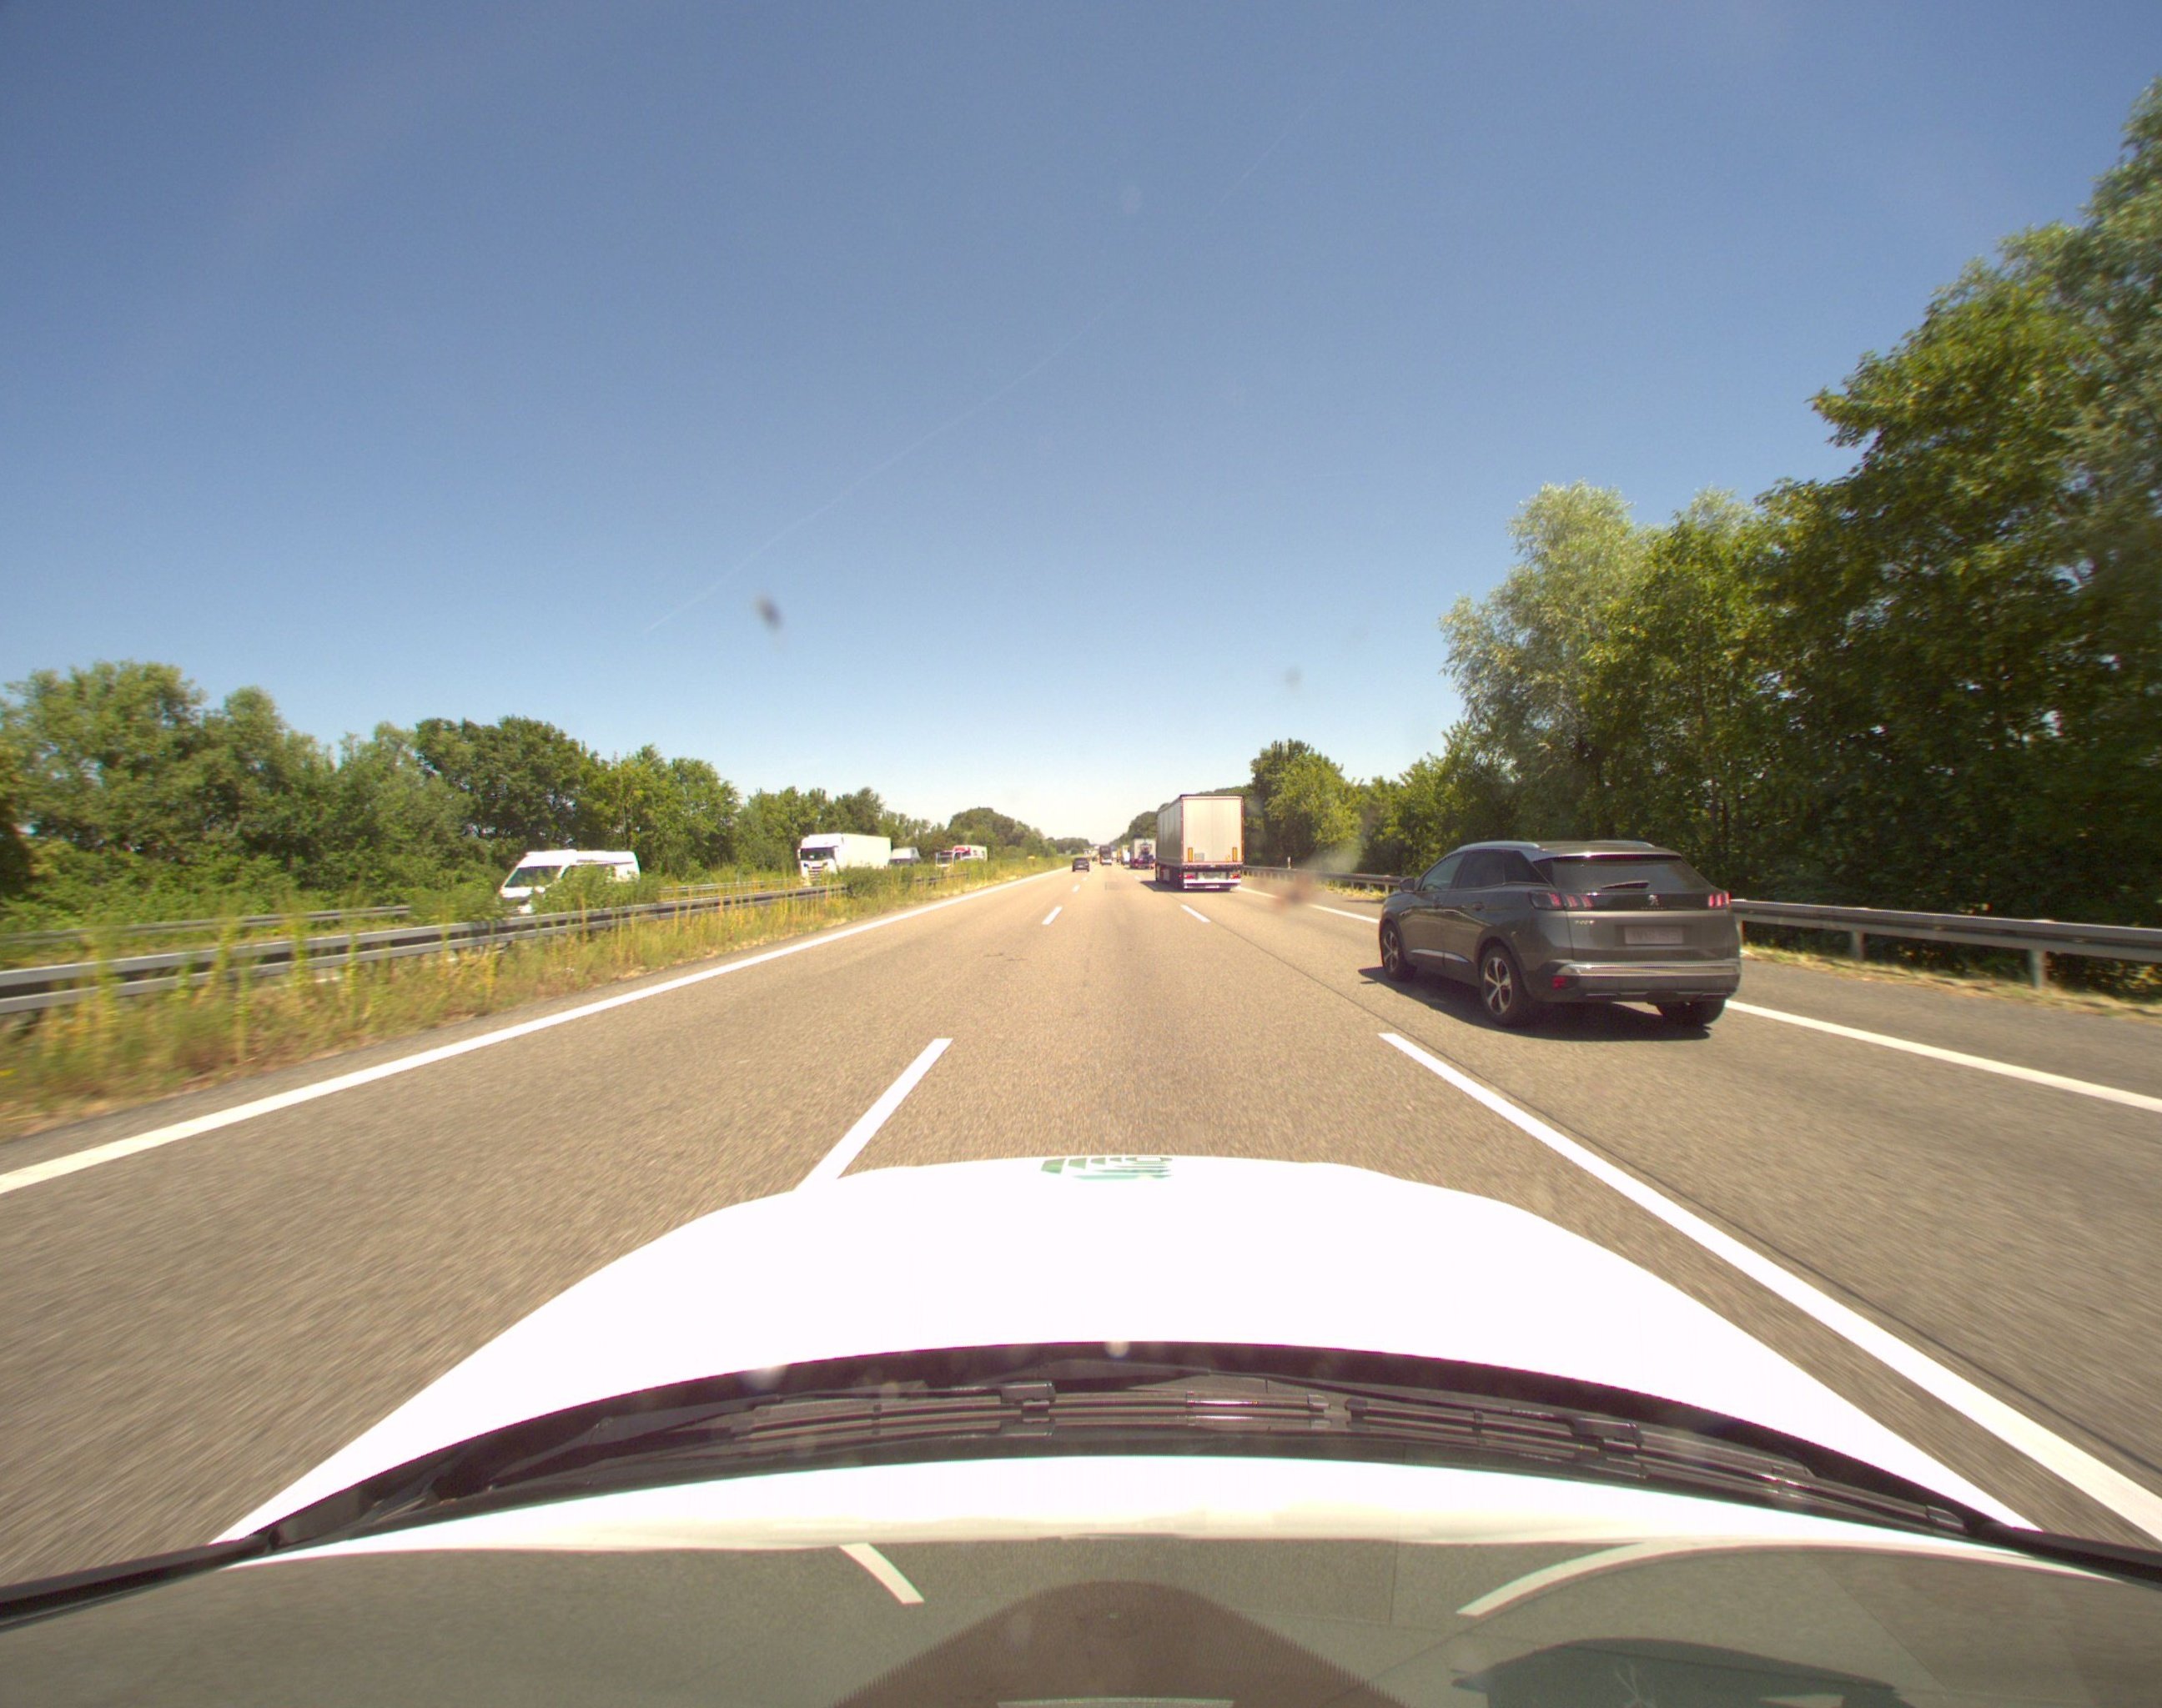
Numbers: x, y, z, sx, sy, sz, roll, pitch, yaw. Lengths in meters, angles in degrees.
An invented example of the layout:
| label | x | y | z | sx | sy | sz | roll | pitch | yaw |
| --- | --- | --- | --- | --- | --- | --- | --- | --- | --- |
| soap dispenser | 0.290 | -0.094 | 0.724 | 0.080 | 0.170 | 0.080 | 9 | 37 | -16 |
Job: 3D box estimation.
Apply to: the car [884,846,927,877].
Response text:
| label | x | y | z | sx | sy | sz | roll | pitch | yaw |
| --- | --- | --- | --- | --- | --- | --- | --- | --- | --- |
| car | -14.176 | 0.569 | 66.125 | 2.202 | 2.362 | 5.298 | -2 | 0 | 0 |

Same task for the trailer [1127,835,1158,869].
| label | x | y | z | sx | sy | sz | roll | pitch | yaw |
| --- | --- | --- | --- | --- | --- | --- | --- | --- | --- |
| trailer | 7.340 | -0.290 | 98.788 | 3.112 | 3.926 | 9.938 | 0 | 1 | 1 |

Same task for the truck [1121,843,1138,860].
| label | x | y | z | sx | sy | sz | roll | pitch | yaw |
| --- | --- | --- | --- | --- | --- | --- | --- | --- | --- |
| truck | 10.864 | -0.553 | 182.096 | 3.652 | 3.725 | 7.114 | 0 | 1 | 3 |

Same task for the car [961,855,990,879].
| label | x | y | z | sx | sy | sz | roll | pitch | yaw |
| --- | --- | --- | --- | --- | --- | --- | --- | --- | --- |
| car | -9.853 | 1.141 | 76.134 | 1.919 | 2.120 | 5.278 | -1 | 0 | 0 |

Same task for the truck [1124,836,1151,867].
| label | x | y | z | sx | sy | sz | roll | pitch | yaw |
| --- | --- | --- | --- | --- | --- | --- | --- | --- | --- |
| truck | 7.433 | -0.354 | 108.740 | 3.047 | 3.879 | 10.035 | 0 | 1 | 1 |

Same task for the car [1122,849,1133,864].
| label | x | y | z | sx | sy | sz | roll | pitch | yaw |
| --- | --- | --- | --- | --- | --- | --- | --- | --- | --- |
| car | 8.043 | 0.448 | 141.375 | 1.900 | 2.425 | 4.287 | 0 | 1 | 2 |

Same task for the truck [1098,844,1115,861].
| label | x | y | z | sx | sy | sz | roll | pitch | yaw |
| --- | --- | --- | --- | --- | --- | --- | --- | --- | --- |
| truck | 5.641 | -0.431 | 182.150 | 3.652 | 3.725 | 7.114 | 0 | 1 | 3 |

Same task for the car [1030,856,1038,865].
| label | x | y | z | sx | sy | sz | roll | pitch | yaw |
| --- | --- | --- | --- | --- | --- | --- | --- | --- | --- |
| car | -13.630 | 1.834 | 236.221 | 2.096 | 2.557 | 6.183 | -2 | 1 | -1 |

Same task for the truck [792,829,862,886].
| label | x | y | z | sx | sy | sz | roll | pitch | yaw |
| --- | --- | --- | --- | --- | --- | --- | --- | --- | --- |
| truck | -19.122 | 0.202 | 61.755 | 3.060 | 4.111 | 6.527 | 0 | 1 | 1 |

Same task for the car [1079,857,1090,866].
| label | x | y | z | sx | sy | sz | roll | pitch | yaw |
| --- | --- | --- | --- | --- | --- | --- | --- | --- | --- |
| car | 0.712 | 1.378 | 145.923 | 1.893 | 1.531 | 4.086 | 0 | 1 | 2 |

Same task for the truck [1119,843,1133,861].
| label | x | y | z | sx | sy | sz | roll | pitch | yaw |
| --- | --- | --- | --- | --- | --- | --- | --- | --- | --- |
| truck | 9.051 | -0.418 | 165.760 | 2.781 | 3.725 | 7.114 | 0 | 1 | 3 |

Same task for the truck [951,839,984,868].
| label | x | y | z | sx | sy | sz | roll | pitch | yaw |
| --- | --- | --- | --- | --- | --- | --- | --- | --- | --- |
| truck | -17.143 | -0.133 | 123.729 | 3.059 | 4.310 | 10.633 | 0 | 1 | 2 |

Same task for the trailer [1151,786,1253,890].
| label | x | y | z | sx | sy | sz | roll | pitch | yaw |
| --- | --- | --- | --- | --- | --- | --- | --- | --- | --- |
| trailer | 5.465 | -0.653 | 39.612 | 3.421 | 4.181 | 13.638 | 0 | 0 | 2 |

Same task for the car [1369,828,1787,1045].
| label | x | y | z | sx | sy | sz | roll | pitch | yaw |
| --- | --- | --- | --- | --- | --- | --- | --- | --- | --- |
| car | 4.533 | 0.620 | 8.307 | 1.838 | 1.628 | 4.137 | -1 | 0 | 2 |

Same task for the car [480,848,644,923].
| label | x | y | z | sx | sy | sz | roll | pitch | yaw |
| --- | --- | --- | --- | --- | --- | --- | --- | --- | --- |
| car | -19.172 | 1.052 | 30.542 | 2.095 | 2.463 | 6.017 | -2 | 0 | 1 |

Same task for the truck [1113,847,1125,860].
| label | x | y | z | sx | sy | sz | roll | pitch | yaw |
| --- | --- | --- | --- | --- | --- | --- | --- | --- | --- |
| truck | 10.561 | -0.163 | 225.872 | 3.475 | 3.725 | 7.114 | 0 | 1 | 3 |

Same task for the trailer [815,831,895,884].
| label | x | y | z | sx | sy | sz | roll | pitch | yaw |
| --- | --- | --- | --- | --- | --- | --- | --- | --- | --- |
| trailer | -18.918 | 0.207 | 69.231 | 3.036 | 4.038 | 12.239 | -1 | 1 | 2 |

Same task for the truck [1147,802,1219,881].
| label | x | y | z | sx | sy | sz | roll | pitch | yaw |
| --- | --- | --- | --- | --- | --- | --- | --- | --- | --- |
| truck | 5.665 | -0.609 | 46.334 | 3.451 | 4.177 | 6.846 | 0 | -1 | 2 |

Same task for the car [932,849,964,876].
| label | x | y | z | sx | sy | sz | roll | pitch | yaw |
| --- | --- | --- | --- | --- | --- | --- | --- | --- | --- |
| car | -14.658 | 0.919 | 89.899 | 2.321 | 2.822 | 6.606 | -2 | 0 | 0 |

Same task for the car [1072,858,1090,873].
| label | x | y | z | sx | sy | sz | roll | pitch | yaw |
| --- | --- | --- | --- | --- | --- | --- | --- | --- | --- |
| car | 0.050 | 1.179 | 85.813 | 1.753 | 1.531 | 4.287 | 0 | 1 | 2 |

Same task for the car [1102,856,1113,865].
| label | x | y | z | sx | sy | sz | roll | pitch | yaw |
| --- | --- | --- | --- | --- | --- | --- | --- | --- | --- |
| car | 4.605 | 1.099 | 142.299 | 1.893 | 1.531 | 4.086 | 0 | 1 | 2 |
